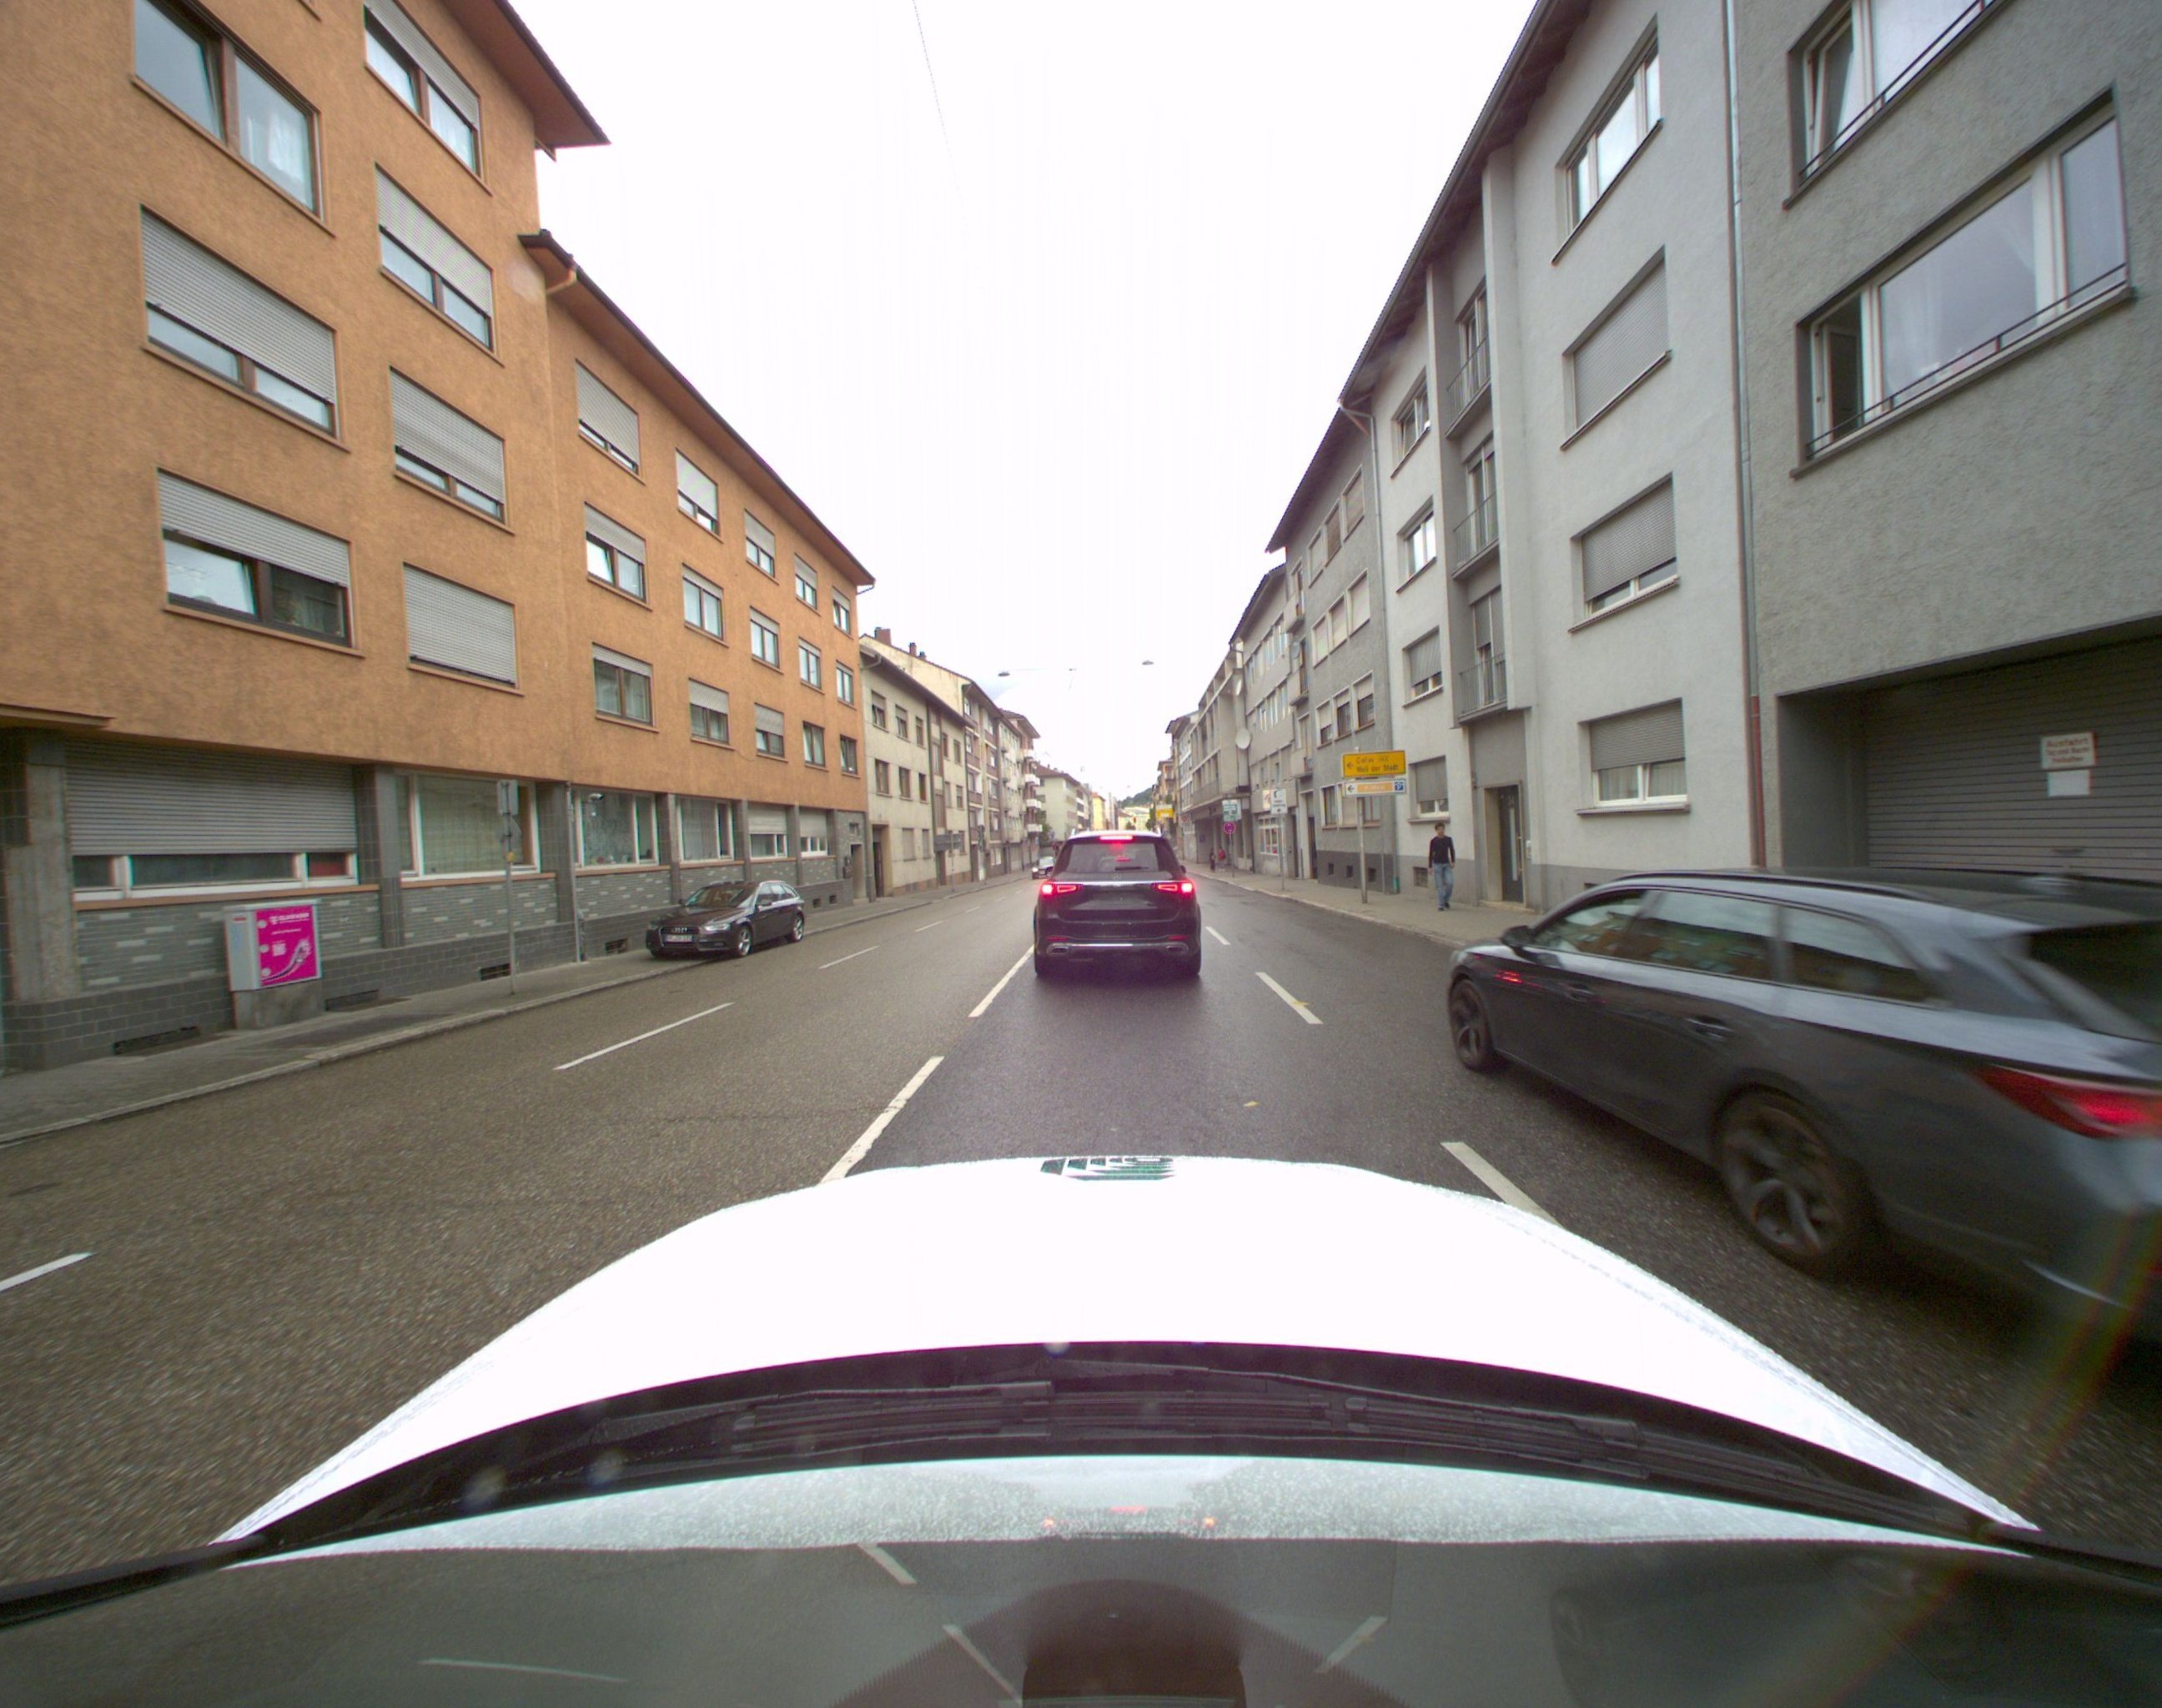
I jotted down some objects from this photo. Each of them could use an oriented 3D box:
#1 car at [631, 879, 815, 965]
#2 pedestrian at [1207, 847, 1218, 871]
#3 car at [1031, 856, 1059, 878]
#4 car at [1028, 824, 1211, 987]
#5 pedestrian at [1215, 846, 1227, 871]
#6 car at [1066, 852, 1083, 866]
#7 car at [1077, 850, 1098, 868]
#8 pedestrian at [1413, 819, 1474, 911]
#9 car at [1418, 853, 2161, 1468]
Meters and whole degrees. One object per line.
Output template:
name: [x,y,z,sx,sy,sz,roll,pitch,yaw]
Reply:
car: [-7.386,1.336,17.374,1.788,1.438,4.529,0,0,2]
pedestrian: [8.462,0.348,52.603,0.504,1.500,0.562,-5,0,1]
car: [-2.749,0.971,62.695,1.696,1.507,4.161,-5,0,2]
car: [0.490,0.563,11.041,2.018,1.805,4.002,0,0,2]
pedestrian: [9.031,0.300,52.515,0.558,1.578,0.526,-5,0,2]
car: [-0.806,0.649,102.740,1.790,1.584,4.318,-5,0,2]
car: [0.765,0.523,88.114,1.828,1.727,4.480,-5,0,4]
pedestrian: [7.381,0.216,16.614,0.641,1.778,1.057,-5,0,2]
car: [3.319,0.721,4.063,1.615,1.430,4.314,0,0,2]
